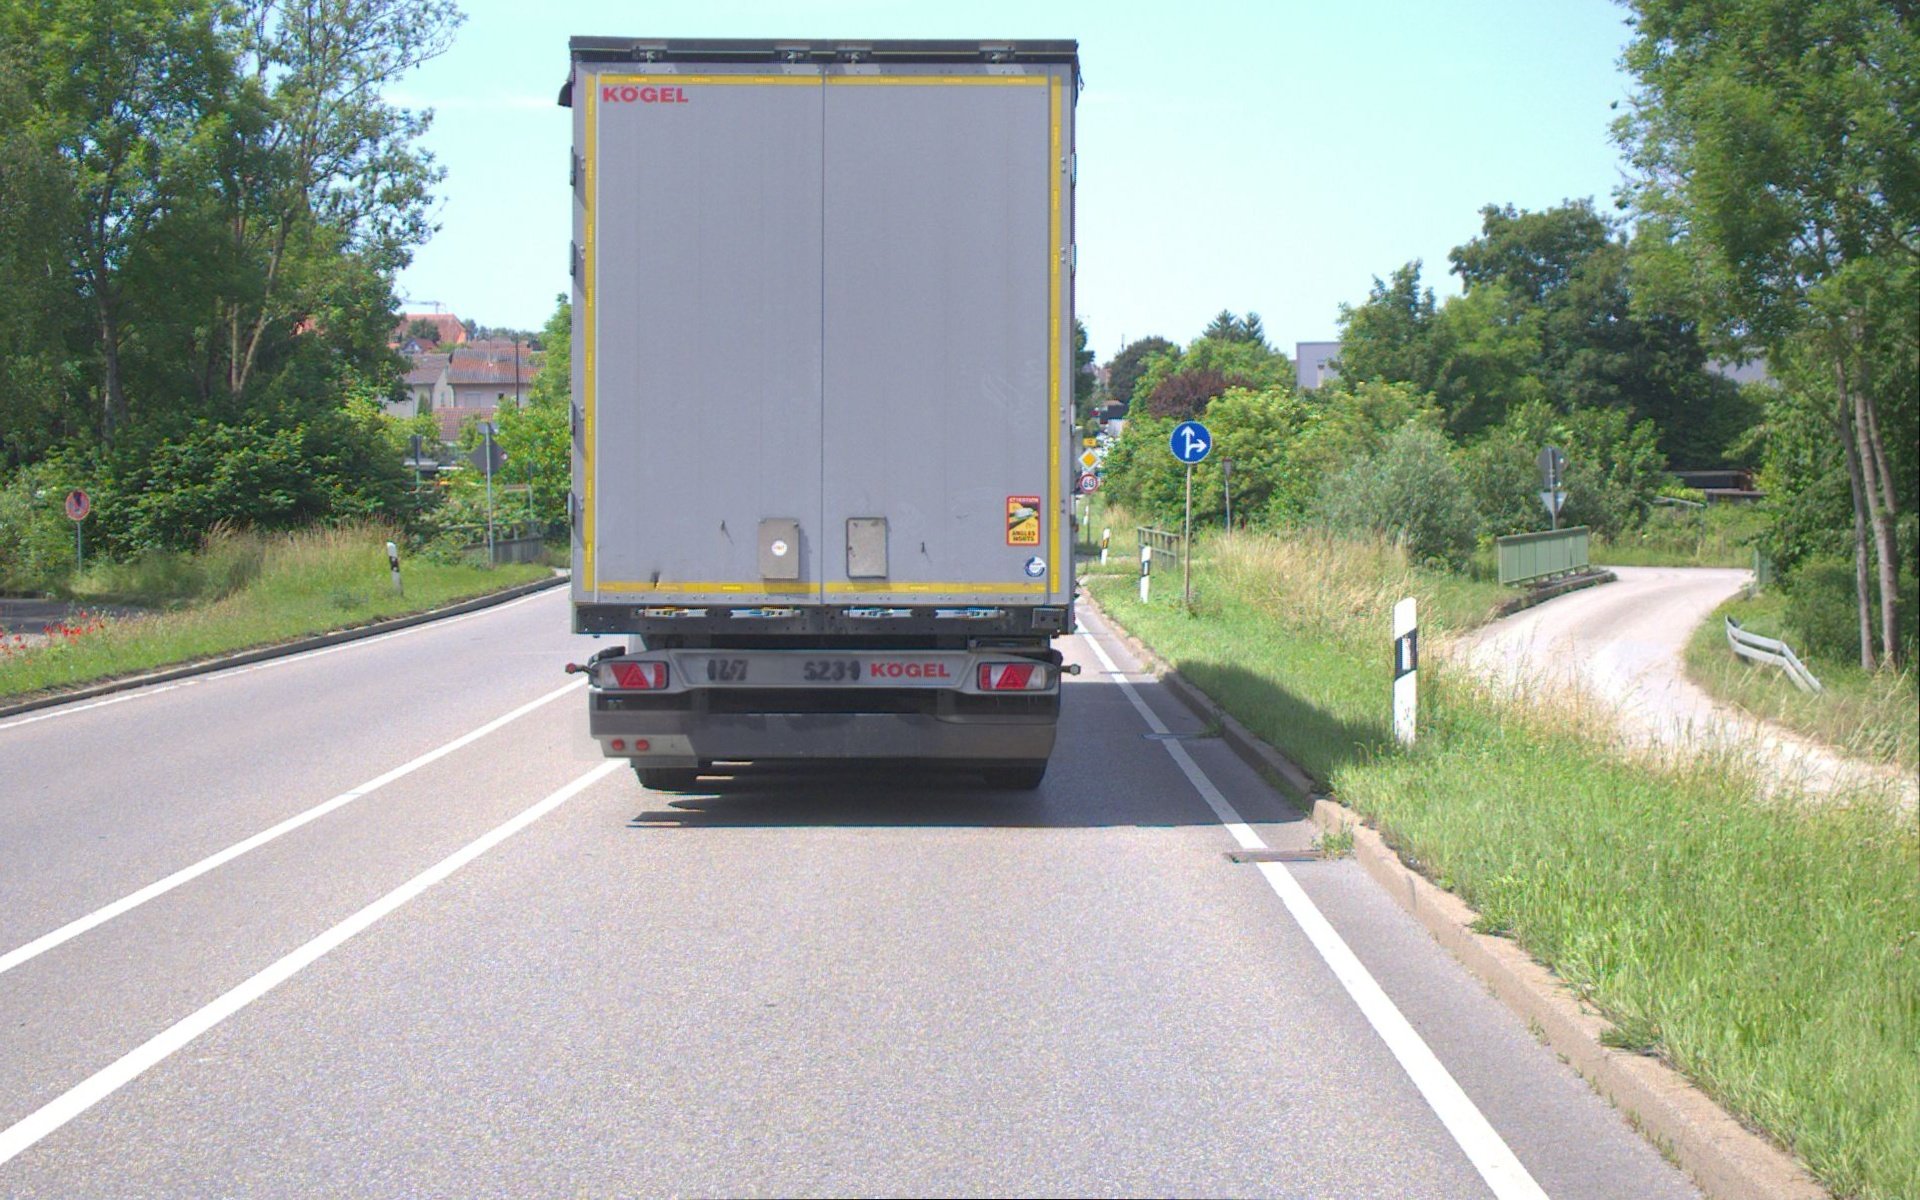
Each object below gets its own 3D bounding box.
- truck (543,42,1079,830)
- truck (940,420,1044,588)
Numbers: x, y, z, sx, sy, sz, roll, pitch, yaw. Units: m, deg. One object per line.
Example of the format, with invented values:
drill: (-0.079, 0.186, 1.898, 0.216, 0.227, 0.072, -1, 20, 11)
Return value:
truck: (-0.793, -0.909, 21.543, 2.647, 3.903, 8.826, 0, 1, -1)
truck: (0.846, -2.742, 100.592, 2.646, 4.585, 10.817, 1, 1, -1)
